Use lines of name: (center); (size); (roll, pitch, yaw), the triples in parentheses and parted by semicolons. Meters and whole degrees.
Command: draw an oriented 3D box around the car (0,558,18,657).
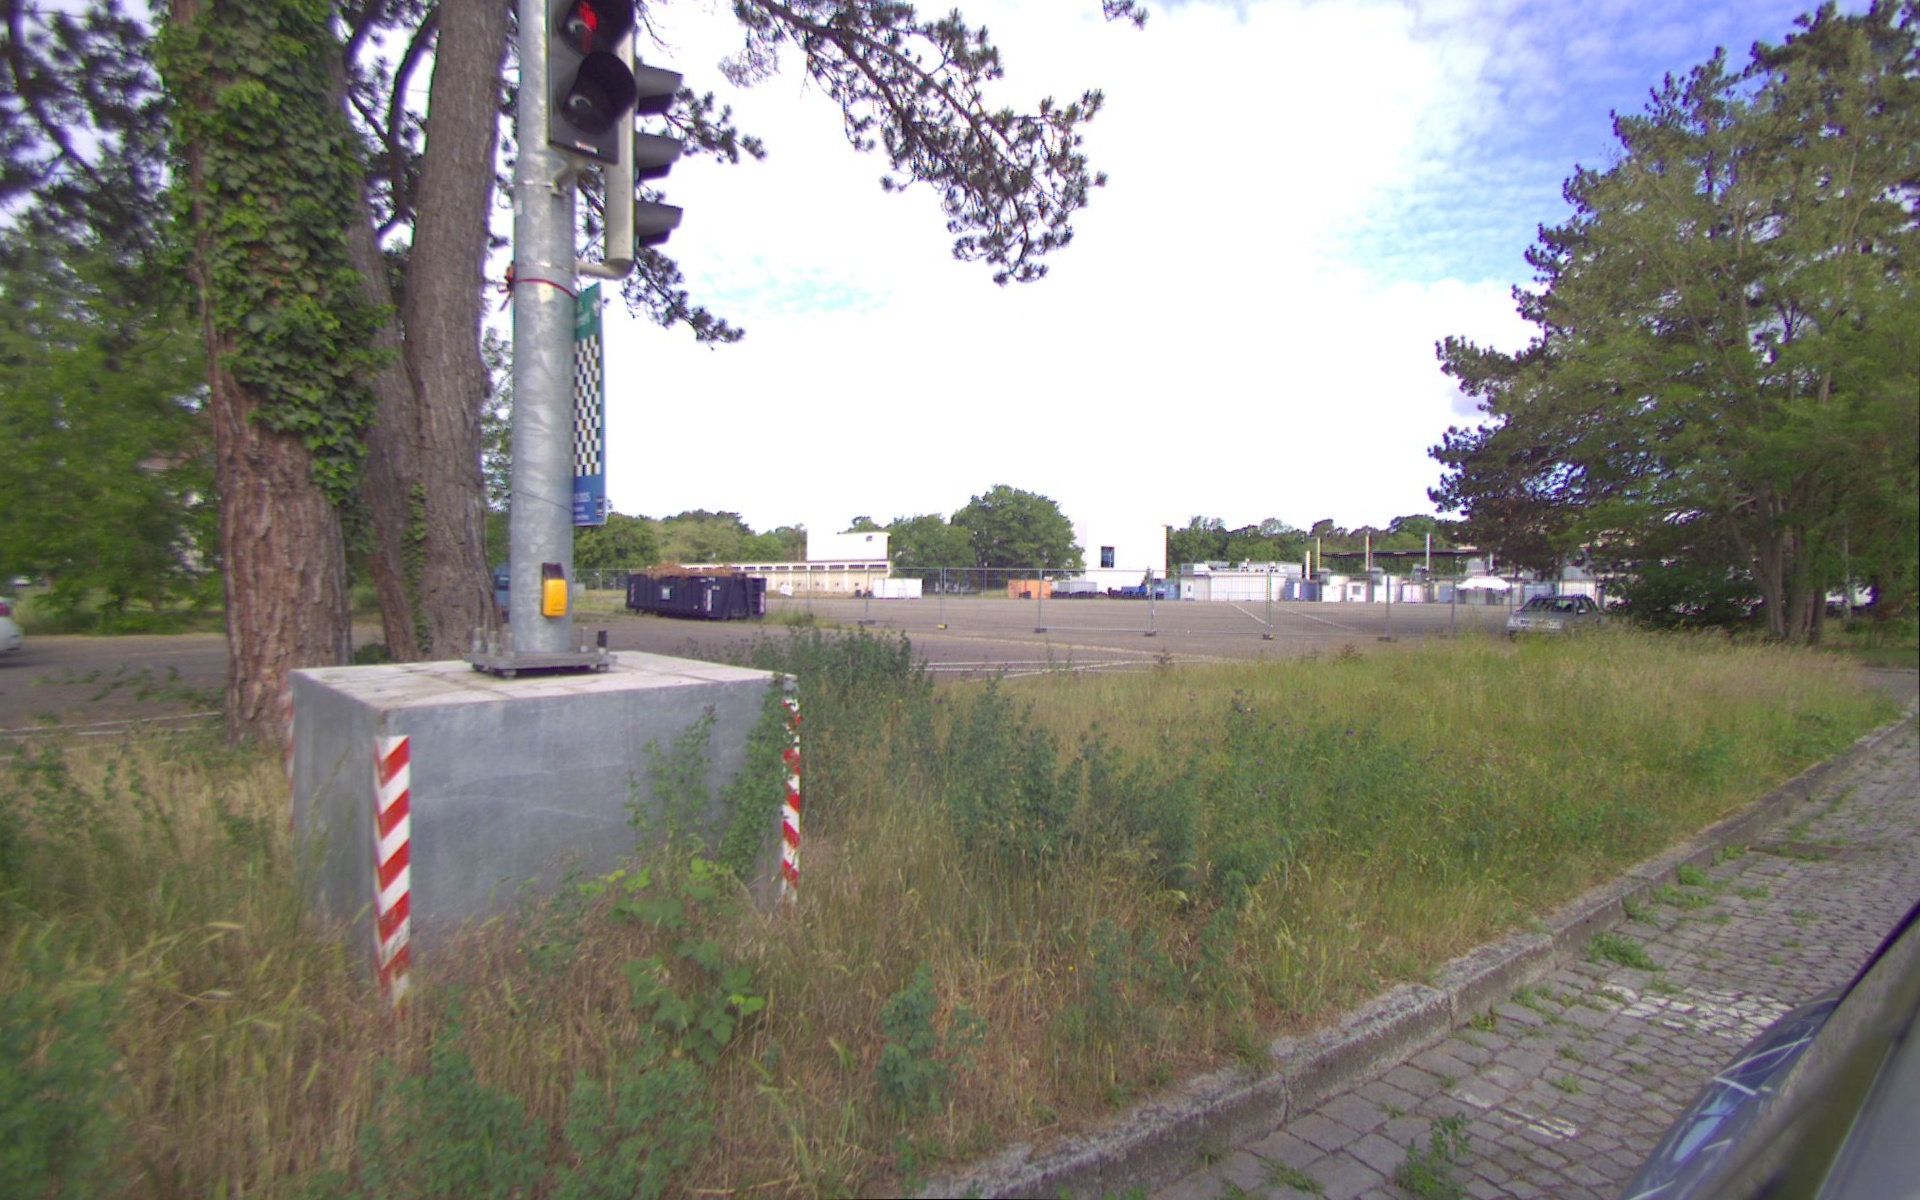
car: (-17.511, 0.225, 15.582); (1.821, 1.594, 4.277); (0, 3, 43)

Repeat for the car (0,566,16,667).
car: (-15.836, 0.344, 13.629); (4.492, 1.443, 1.822); (-4, 3, -44)

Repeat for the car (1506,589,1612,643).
car: (18.118, 0.424, 30.552); (1.859, 1.492, 4.085); (2, 1, 44)

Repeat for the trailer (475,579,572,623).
trailer: (-12.432, 0.039, 28.858); (2.281, 1.185, 1.141); (1, -1, -43)
